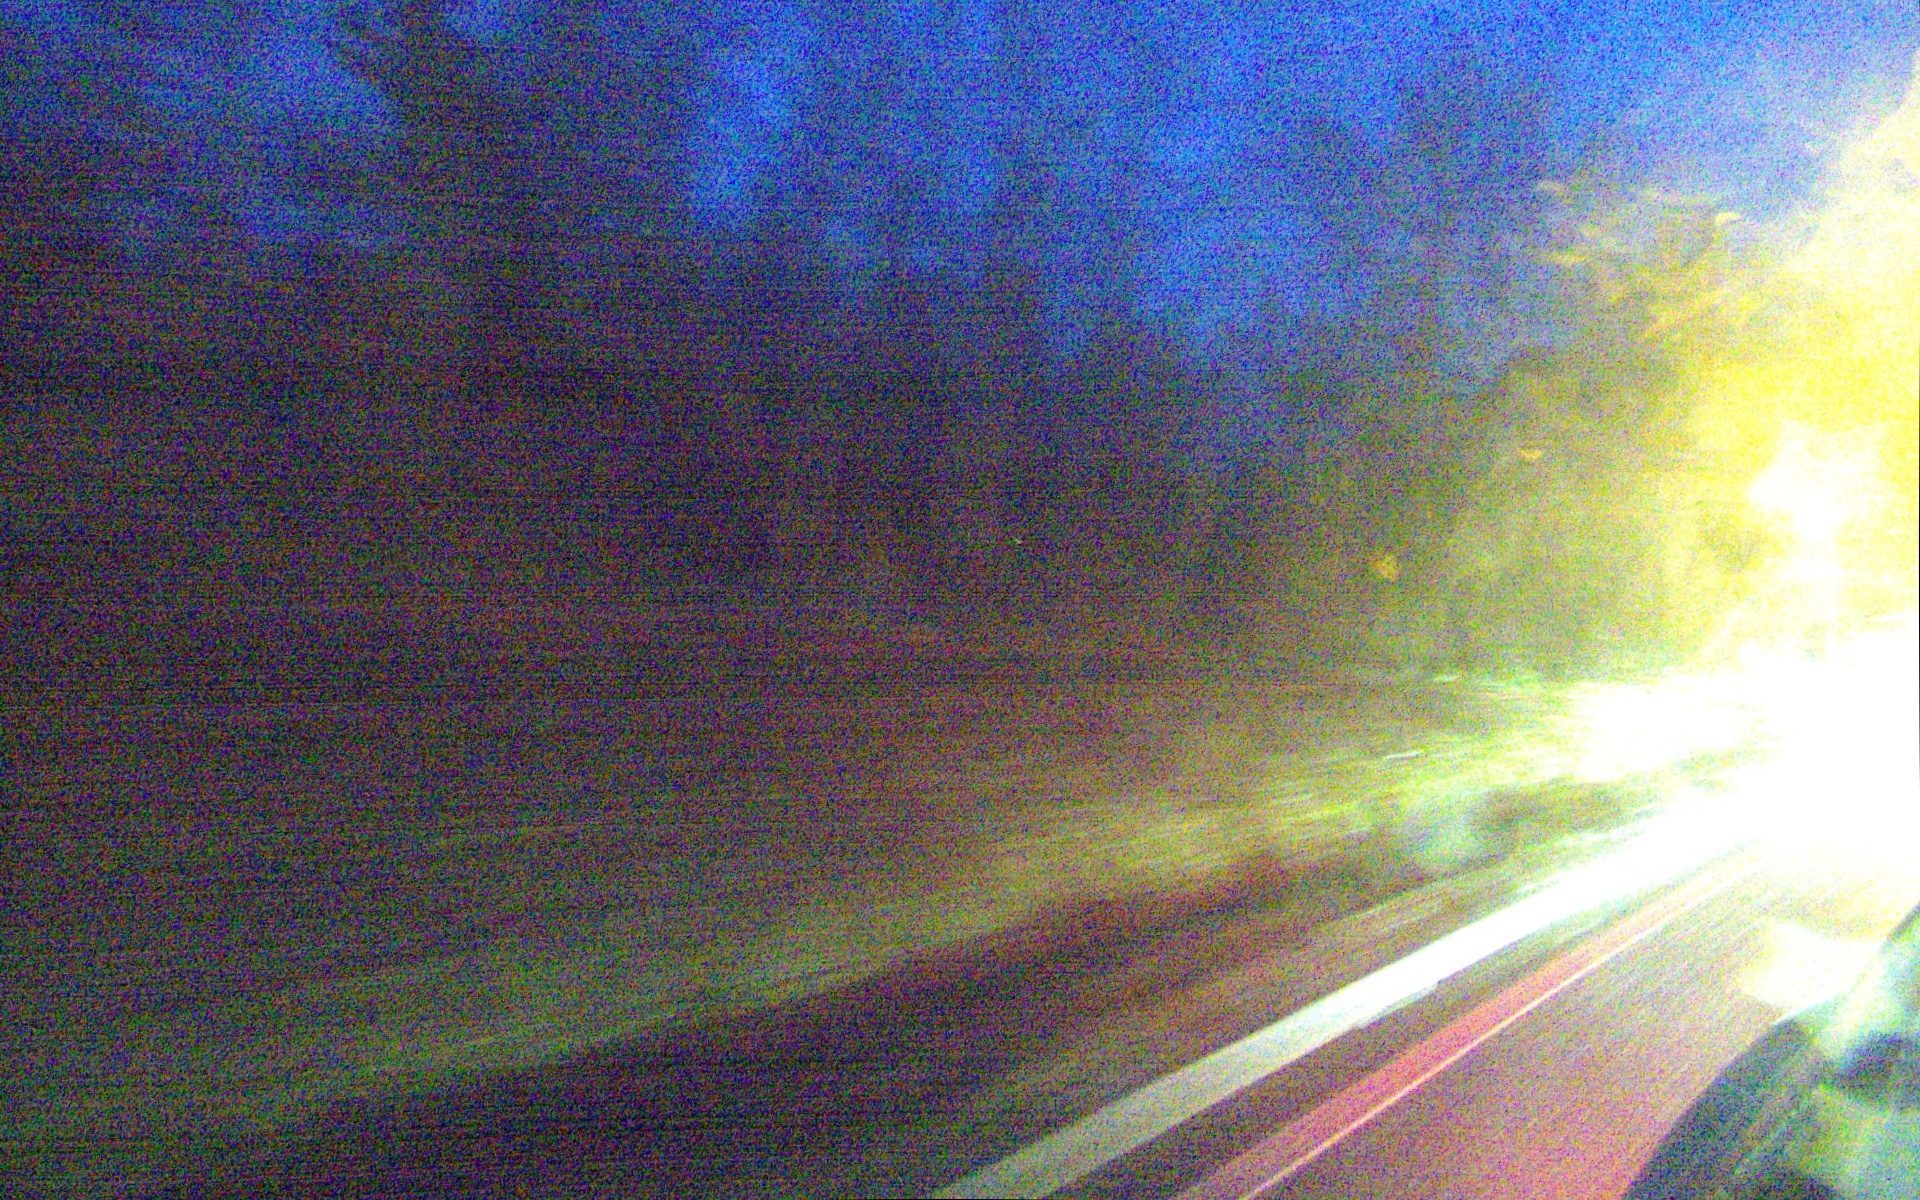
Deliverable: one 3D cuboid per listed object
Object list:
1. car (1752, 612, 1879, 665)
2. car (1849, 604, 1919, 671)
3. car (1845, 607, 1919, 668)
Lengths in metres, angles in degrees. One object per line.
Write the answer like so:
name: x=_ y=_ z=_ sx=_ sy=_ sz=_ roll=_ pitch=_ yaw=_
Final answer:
car: x=27.582 y=1.204 z=32.627 sx=3.598 sy=1.529 sz=1.644 roll=0 pitch=2 yaw=-23
car: x=24.440 y=0.933 z=25.514 sx=3.722 sy=1.586 sz=1.682 roll=1 pitch=0 yaw=-25
car: x=28.233 y=1.079 z=29.968 sx=3.461 sy=1.639 sz=1.644 roll=0 pitch=2 yaw=-23
